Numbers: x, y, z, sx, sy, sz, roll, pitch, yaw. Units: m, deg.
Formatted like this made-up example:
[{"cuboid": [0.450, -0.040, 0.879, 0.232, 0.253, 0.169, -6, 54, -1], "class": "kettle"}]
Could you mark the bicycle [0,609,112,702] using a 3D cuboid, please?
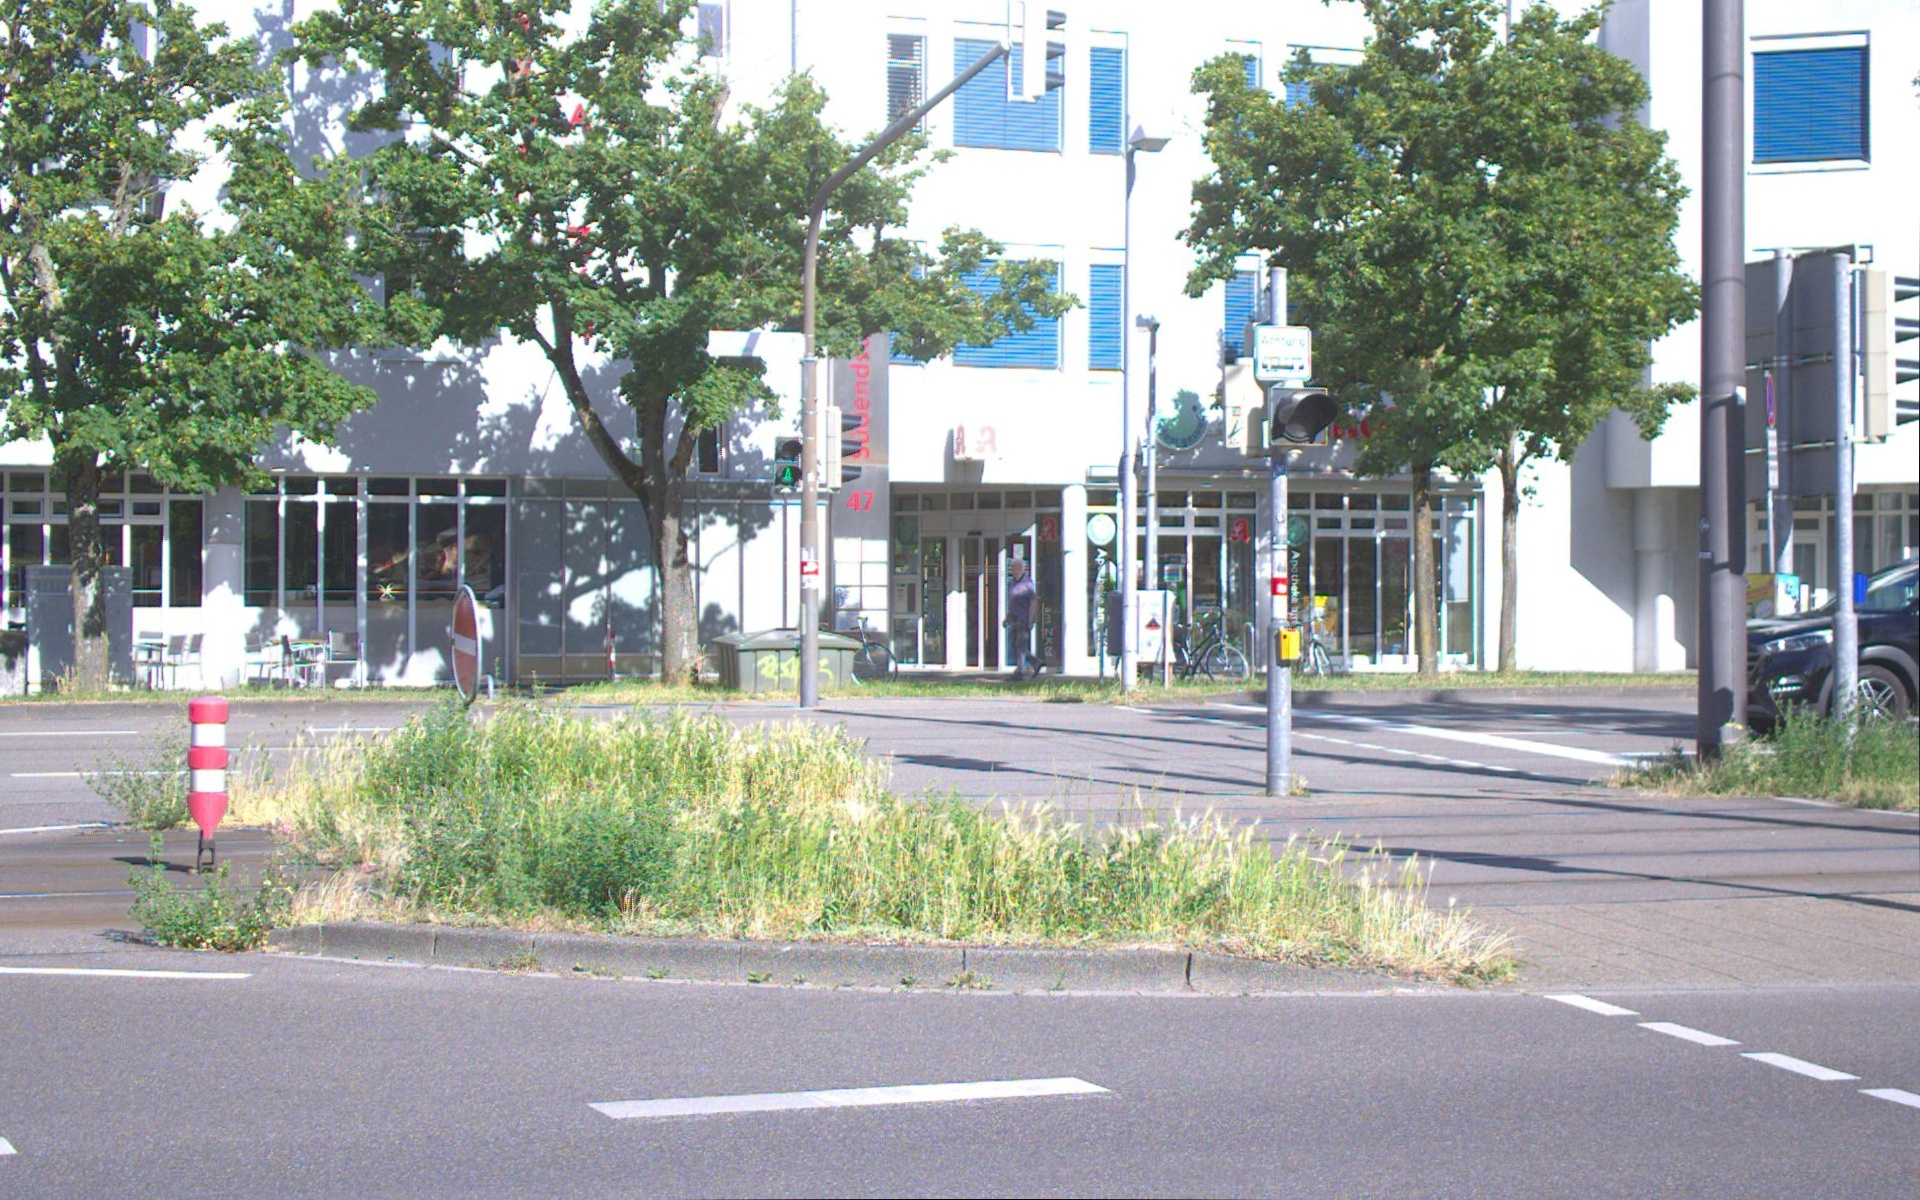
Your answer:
[{"cuboid": [-10.278, 0.617, 38.483, 1.511, 1.024, 0.473, 0, 0, -12], "class": "bicycle"}]

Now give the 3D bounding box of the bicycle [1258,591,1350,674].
[{"cuboid": [5.029, 0.467, 50.366, 0.560, 1.178, 1.870, 0, 0, -21], "class": "bicycle"}]

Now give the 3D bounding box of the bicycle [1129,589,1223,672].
[{"cuboid": [3.134, 0.437, 50.046, 0.560, 1.178, 1.870, 0, 0, -24], "class": "bicycle"}]

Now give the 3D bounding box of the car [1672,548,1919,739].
[{"cuboid": [8.792, 0.357, 30.299, 4.499, 1.604, 2.001, 0, 0, -13], "class": "car"}]

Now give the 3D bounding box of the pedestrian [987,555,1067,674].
[{"cuboid": [0.977, 0.207, 50.270, 0.989, 1.717, 0.654, 0, 0, -24], "class": "pedestrian"}]

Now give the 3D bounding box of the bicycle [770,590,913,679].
[{"cuboid": [-1.598, 0.458, 46.525, 1.863, 1.178, 0.562, 0, 0, -26], "class": "bicycle"}]

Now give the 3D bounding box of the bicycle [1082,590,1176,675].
[{"cuboid": [2.419, 0.455, 49.421, 0.560, 1.178, 1.870, 0, 0, -24], "class": "bicycle"}]
